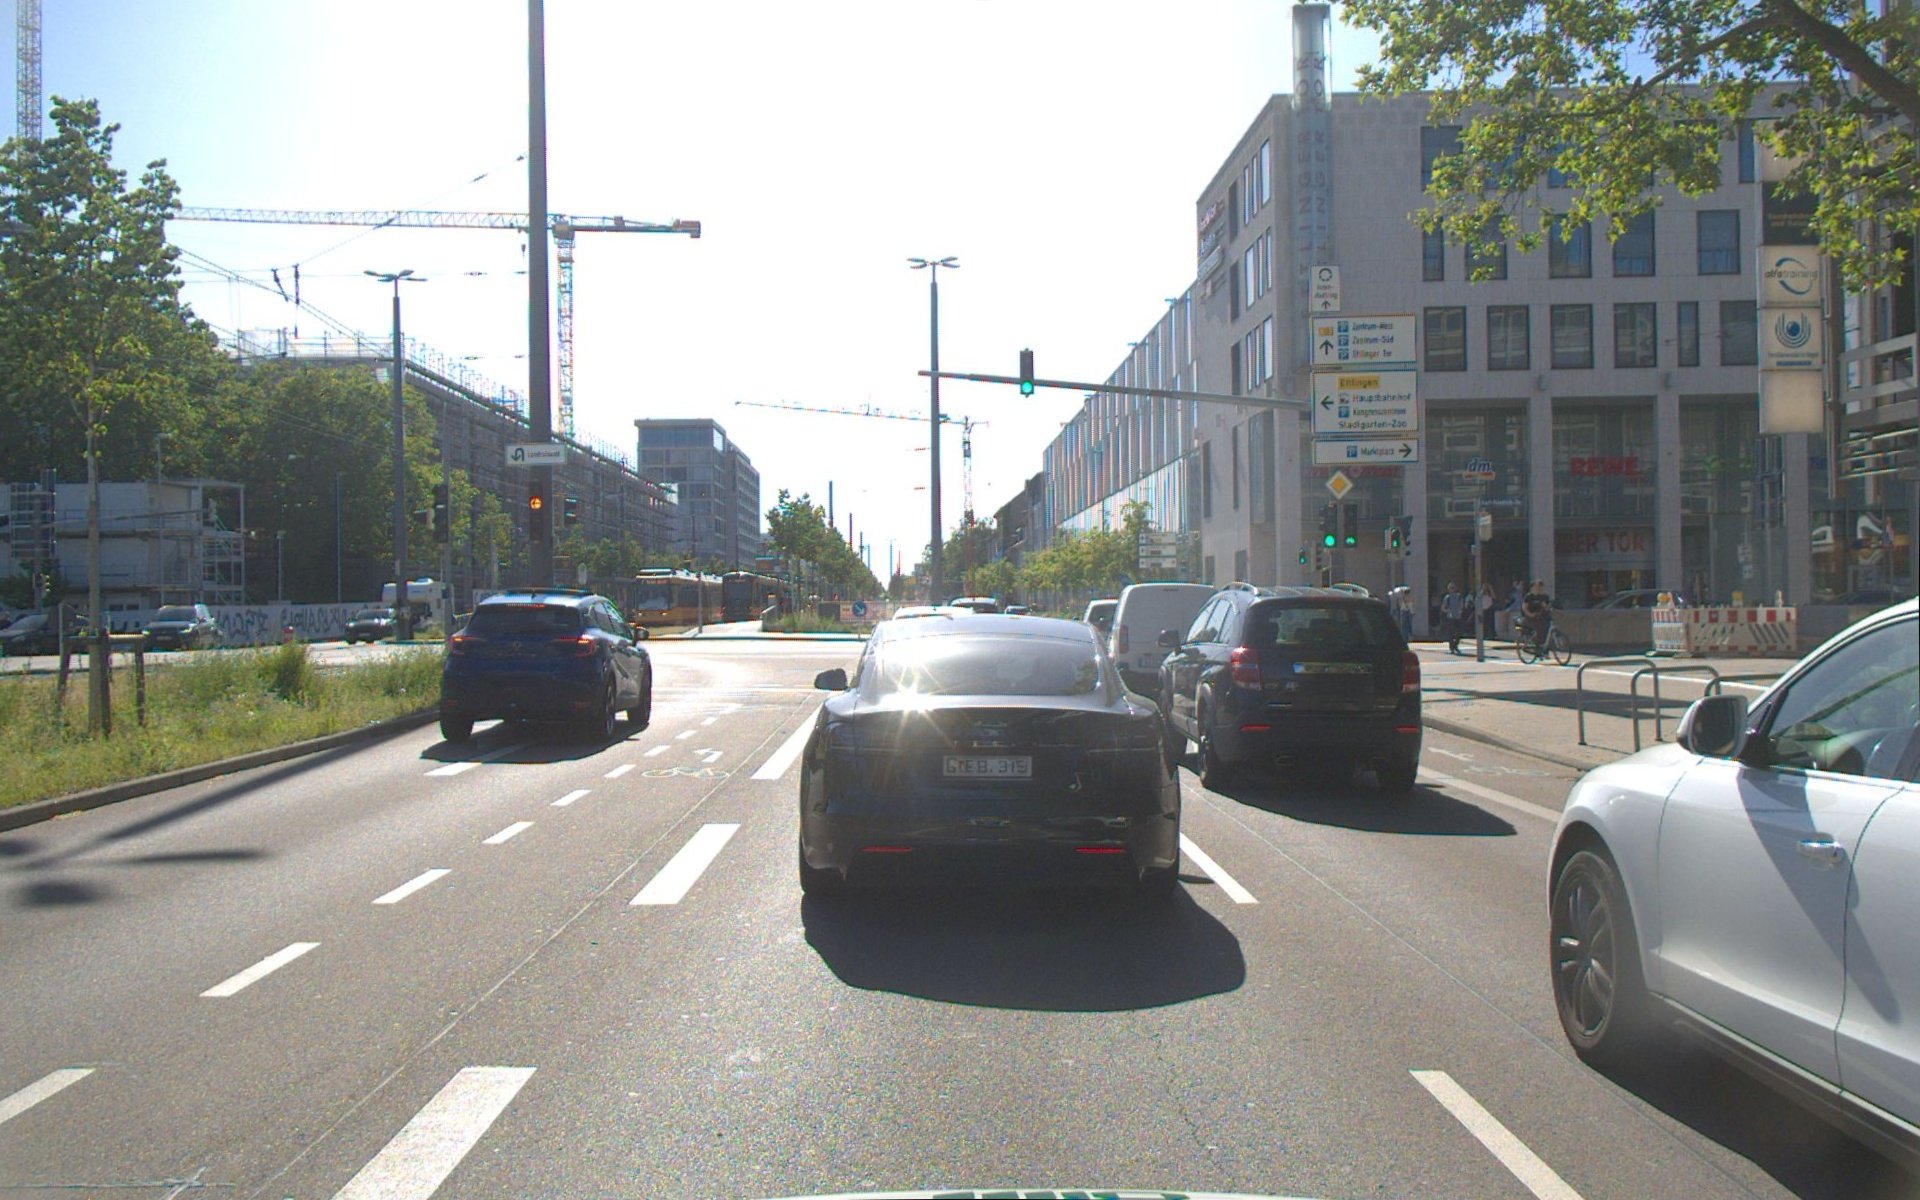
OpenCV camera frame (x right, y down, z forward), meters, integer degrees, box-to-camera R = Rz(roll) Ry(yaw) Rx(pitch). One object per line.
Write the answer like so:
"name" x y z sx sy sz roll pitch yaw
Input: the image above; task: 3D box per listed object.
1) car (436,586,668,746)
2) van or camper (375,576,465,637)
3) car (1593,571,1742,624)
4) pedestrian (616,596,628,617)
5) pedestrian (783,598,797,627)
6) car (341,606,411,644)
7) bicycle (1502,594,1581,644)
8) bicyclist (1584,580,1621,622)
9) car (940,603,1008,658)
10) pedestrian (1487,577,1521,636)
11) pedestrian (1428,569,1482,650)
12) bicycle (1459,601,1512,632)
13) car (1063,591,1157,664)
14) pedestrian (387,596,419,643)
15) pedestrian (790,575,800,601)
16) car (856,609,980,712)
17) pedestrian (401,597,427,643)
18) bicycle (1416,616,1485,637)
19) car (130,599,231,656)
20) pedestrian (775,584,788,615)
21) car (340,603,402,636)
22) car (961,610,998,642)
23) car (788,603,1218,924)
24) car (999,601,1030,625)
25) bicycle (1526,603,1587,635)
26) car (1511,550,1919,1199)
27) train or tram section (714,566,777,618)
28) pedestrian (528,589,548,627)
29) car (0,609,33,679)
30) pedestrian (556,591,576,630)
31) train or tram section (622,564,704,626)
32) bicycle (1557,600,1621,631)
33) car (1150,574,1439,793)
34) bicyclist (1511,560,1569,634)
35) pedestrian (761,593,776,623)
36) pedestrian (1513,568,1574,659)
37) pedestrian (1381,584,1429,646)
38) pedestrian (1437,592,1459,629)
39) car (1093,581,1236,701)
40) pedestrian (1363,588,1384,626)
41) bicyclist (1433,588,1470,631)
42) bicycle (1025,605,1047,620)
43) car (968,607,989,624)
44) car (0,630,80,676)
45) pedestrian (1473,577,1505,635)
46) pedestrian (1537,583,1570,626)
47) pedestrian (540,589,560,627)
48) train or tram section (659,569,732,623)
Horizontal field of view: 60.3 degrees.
"car" -4.553 0.682 19.052 1.734 1.616 4.087 1 0 -2
"van or camper" -27.935 0.316 85.826 2.553 2.988 7.337 -1 0 -3
"car" 23.264 -0.065 54.502 4.099 1.641 1.861 -1 -2 1
"pedestrian" -20.321 0.409 99.464 0.658 1.248 0.505 1 -1 -5
"pedestrian" -9.566 0.709 93.110 0.726 1.657 0.861 -1 0 -1
"car" -27.349 1.152 77.645 1.907 1.737 4.364 -1 0 -3
"bicycle" 12.037 0.378 34.288 0.863 1.002 2.050 -1 0 -2
"bicyclist" 22.824 0.026 58.789 0.913 1.458 1.041 -1 0 2
"car" 0.331 0.766 43.291 1.681 1.343 3.999 0 0 -1
"pedestrian" 15.350 0.181 46.678 0.648 1.640 0.526 -3 0 -10
"pedestrian" 12.795 0.235 42.814 0.930 2.049 1.076 0 0 -12
"bicycle" 19.723 0.598 62.134 1.044 1.113 2.991 -1 0 0
"car" 3.394 0.596 38.070 1.748 1.573 4.038 0 0 -1
"pedestrian" -22.284 0.768 66.197 0.785 1.855 0.880 -1 0 31
"pedestrian" -11.854 -0.831 118.797 0.658 1.842 1.074 -1 -1 -2
"car" -0.602 0.838 24.599 1.681 1.343 3.999 0 0 -1
"pedestrian" -22.390 0.795 67.811 0.784 1.855 0.975 -1 0 -4
"bicycle" 17.463 0.936 58.882 2.147 0.683 1.072 -1 0 2
"car" -28.441 0.980 60.482 1.832 1.990 3.999 -1 0 -1
"pedestrian" -10.531 -0.011 97.424 0.689 1.806 0.958 1 0 -5
"car" -32.294 1.072 90.745 1.954 1.737 4.557 -1 0 -3
"car" 0.920 1.253 79.989 1.681 1.457 3.999 0 0 -1
"car" 0.184 0.746 9.745 1.958 1.459 4.412 0 0 -1
"car" 3.624 0.841 110.135 1.895 1.569 3.999 0 0 -1
"bicycle" 22.266 0.693 61.807 1.044 1.113 3.497 -1 0 0
"car" 3.009 0.703 4.103 1.782 1.641 4.412 0 0 -1
"train or tram section" -14.806 -0.483 115.186 2.812 3.337 15.179 1 0 -2
"pedestrian" -20.556 0.390 80.605 0.784 1.855 0.975 -1 0 -4
"car" -24.671 1.111 40.281 1.788 1.719 4.092 -1 0 1
"pedestrian" -18.996 0.489 79.773 0.784 1.855 0.975 -1 0 -4
"train or tram section" -17.394 -0.263 97.775 2.812 3.367 13.068 1 0 -2
"bicycle" 23.437 0.568 61.717 1.044 1.113 3.497 -1 0 0
"car" 2.908 0.652 15.324 1.748 1.729 4.412 0 0 0
"bicyclist" 12.035 -0.065 34.327 0.863 1.502 0.883 -1 0 -2
"pedestrian" -11.622 0.482 100.410 0.857 1.806 1.188 1 0 -5
"pedestrian" 13.422 0.306 38.062 0.929 2.049 1.077 -1 0 -9
"pedestrian" 13.597 0.459 50.552 0.947 1.833 1.522 -3 0 -2
"pedestrian" 21.863 0.464 74.118 0.551 1.636 0.740 -1 1 -38
"car" 3.195 0.594 26.535 1.748 1.764 4.163 0 0 -1
"pedestrian" 17.869 0.291 71.557 0.732 1.636 0.556 -1 1 -3
"bicyclist" 17.493 0.329 58.896 1.000 1.502 1.072 -1 0 2
"bicycle" 6.695 1.107 145.531 1.848 1.171 0.669 -2 0 -12
"car" 1.700 1.447 155.687 1.895 1.569 3.999 0 0 -1
"car" -35.598 1.987 62.399 1.952 1.629 4.002 -1 0 19
"pedestrian" 15.119 0.175 47.290 0.648 1.640 0.526 -3 0 -10
"pedestrian" 23.902 0.179 66.608 0.957 1.713 0.860 -1 0 -4
"pedestrian" -20.481 0.396 82.569 0.784 1.855 0.975 -1 0 -4
"train or tram section" -17.797 -0.151 112.290 2.790 3.380 15.959 1 -1 -2
